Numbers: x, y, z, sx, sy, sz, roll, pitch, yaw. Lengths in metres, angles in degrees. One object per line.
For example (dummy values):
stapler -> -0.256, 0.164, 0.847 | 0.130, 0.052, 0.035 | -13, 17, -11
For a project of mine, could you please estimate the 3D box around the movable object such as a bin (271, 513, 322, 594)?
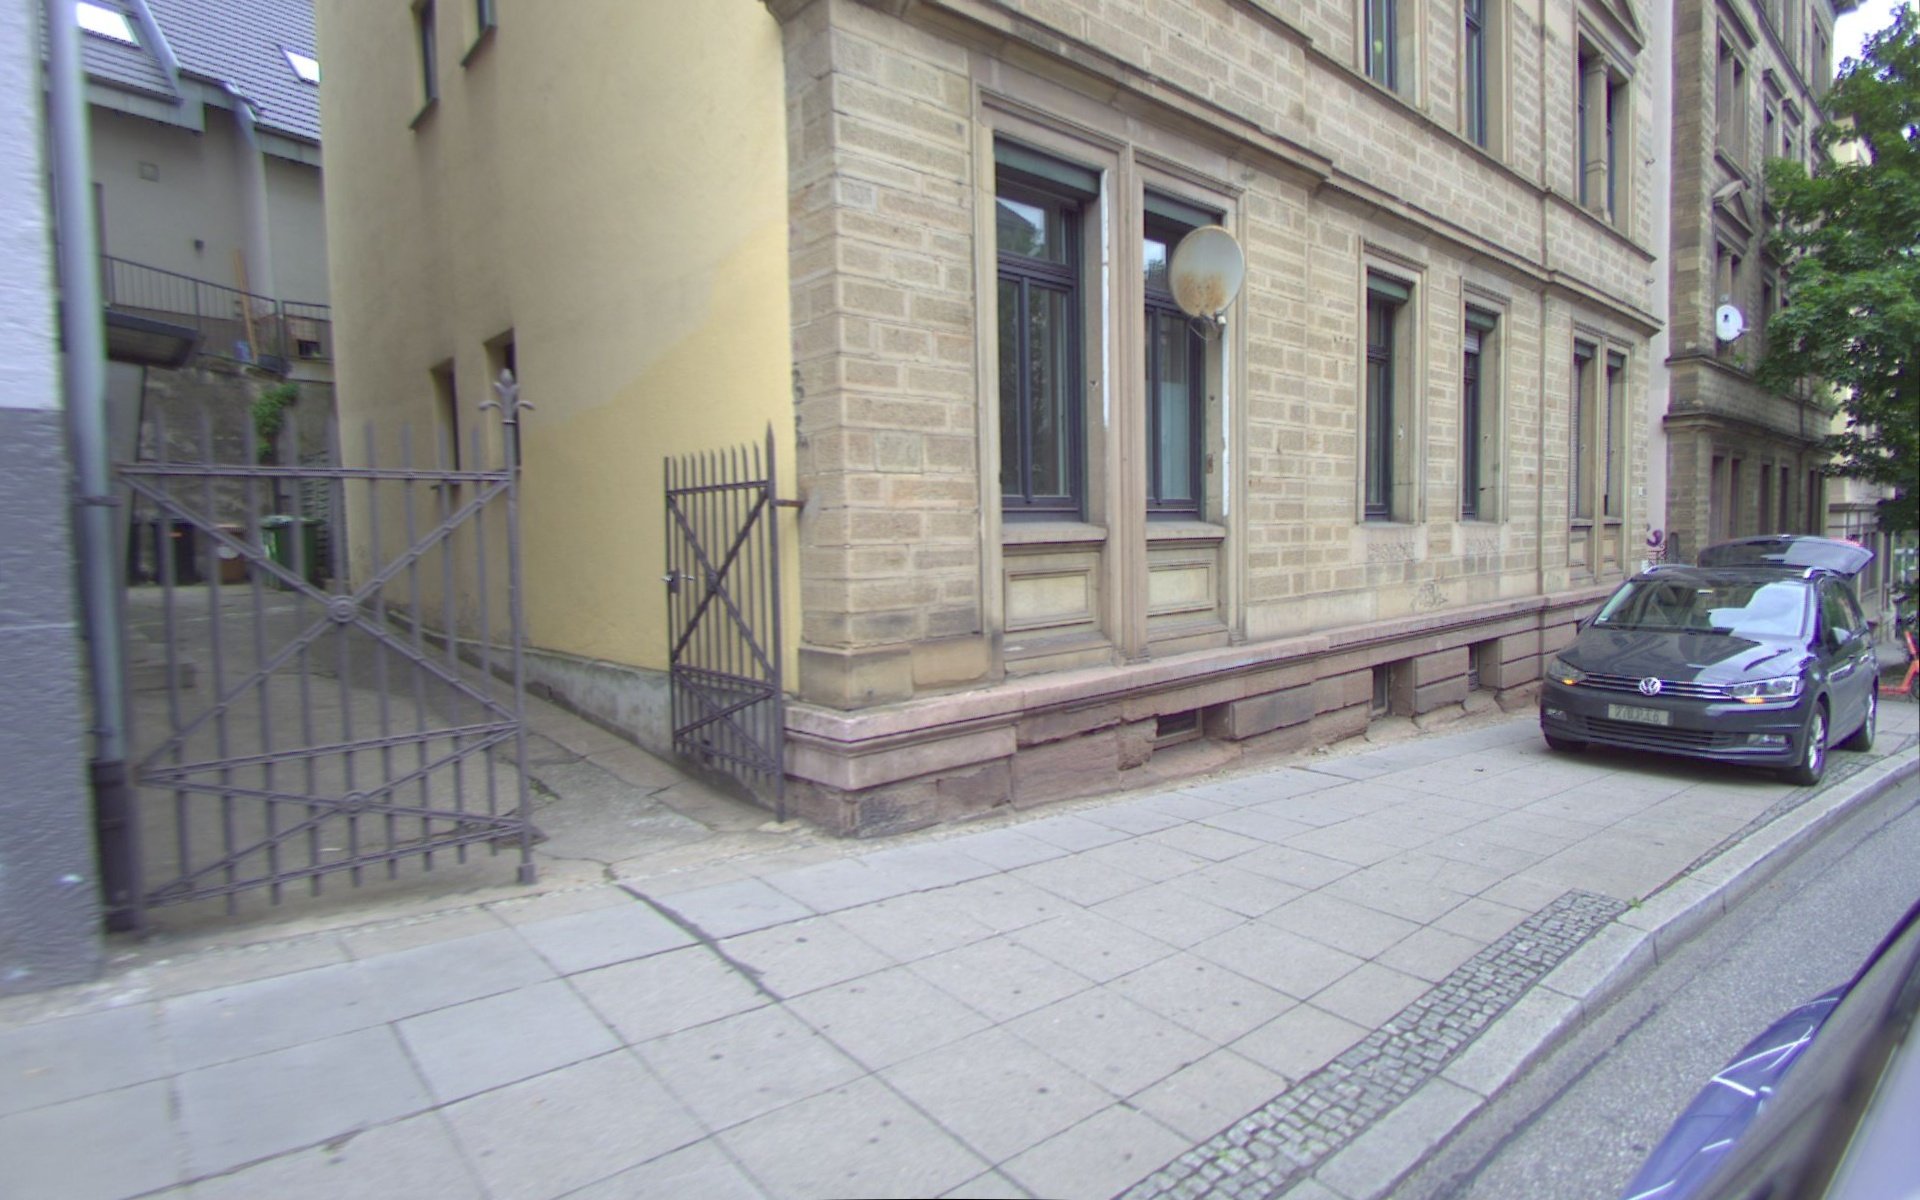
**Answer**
movable object such as a bin -> -9.781, -0.671, 14.923 | 0.603, 1.149, 0.712 | 1, 0, -34

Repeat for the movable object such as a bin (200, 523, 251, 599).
movable object such as a bin -> -11.509, -0.598, 15.878 | 0.603, 1.149, 0.712 | 1, 0, -34

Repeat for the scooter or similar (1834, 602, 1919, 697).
scooter or similar -> 14.001, 0.734, 15.207 | 1.194, 1.288, 0.621 | 6, 4, 40

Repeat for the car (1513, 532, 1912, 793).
car -> 6.684, 0.380, 8.814 | 4.232, 1.732, 1.862 | 0, 2, -41

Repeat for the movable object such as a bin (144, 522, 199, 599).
movable object such as a bin -> -12.099, -0.594, 15.541 | 0.603, 1.149, 0.712 | 1, 0, -34

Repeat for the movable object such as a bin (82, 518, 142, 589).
movable object such as a bin -> -12.685, -0.679, 15.157 | 0.603, 1.025, 0.712 | 1, 0, -34
